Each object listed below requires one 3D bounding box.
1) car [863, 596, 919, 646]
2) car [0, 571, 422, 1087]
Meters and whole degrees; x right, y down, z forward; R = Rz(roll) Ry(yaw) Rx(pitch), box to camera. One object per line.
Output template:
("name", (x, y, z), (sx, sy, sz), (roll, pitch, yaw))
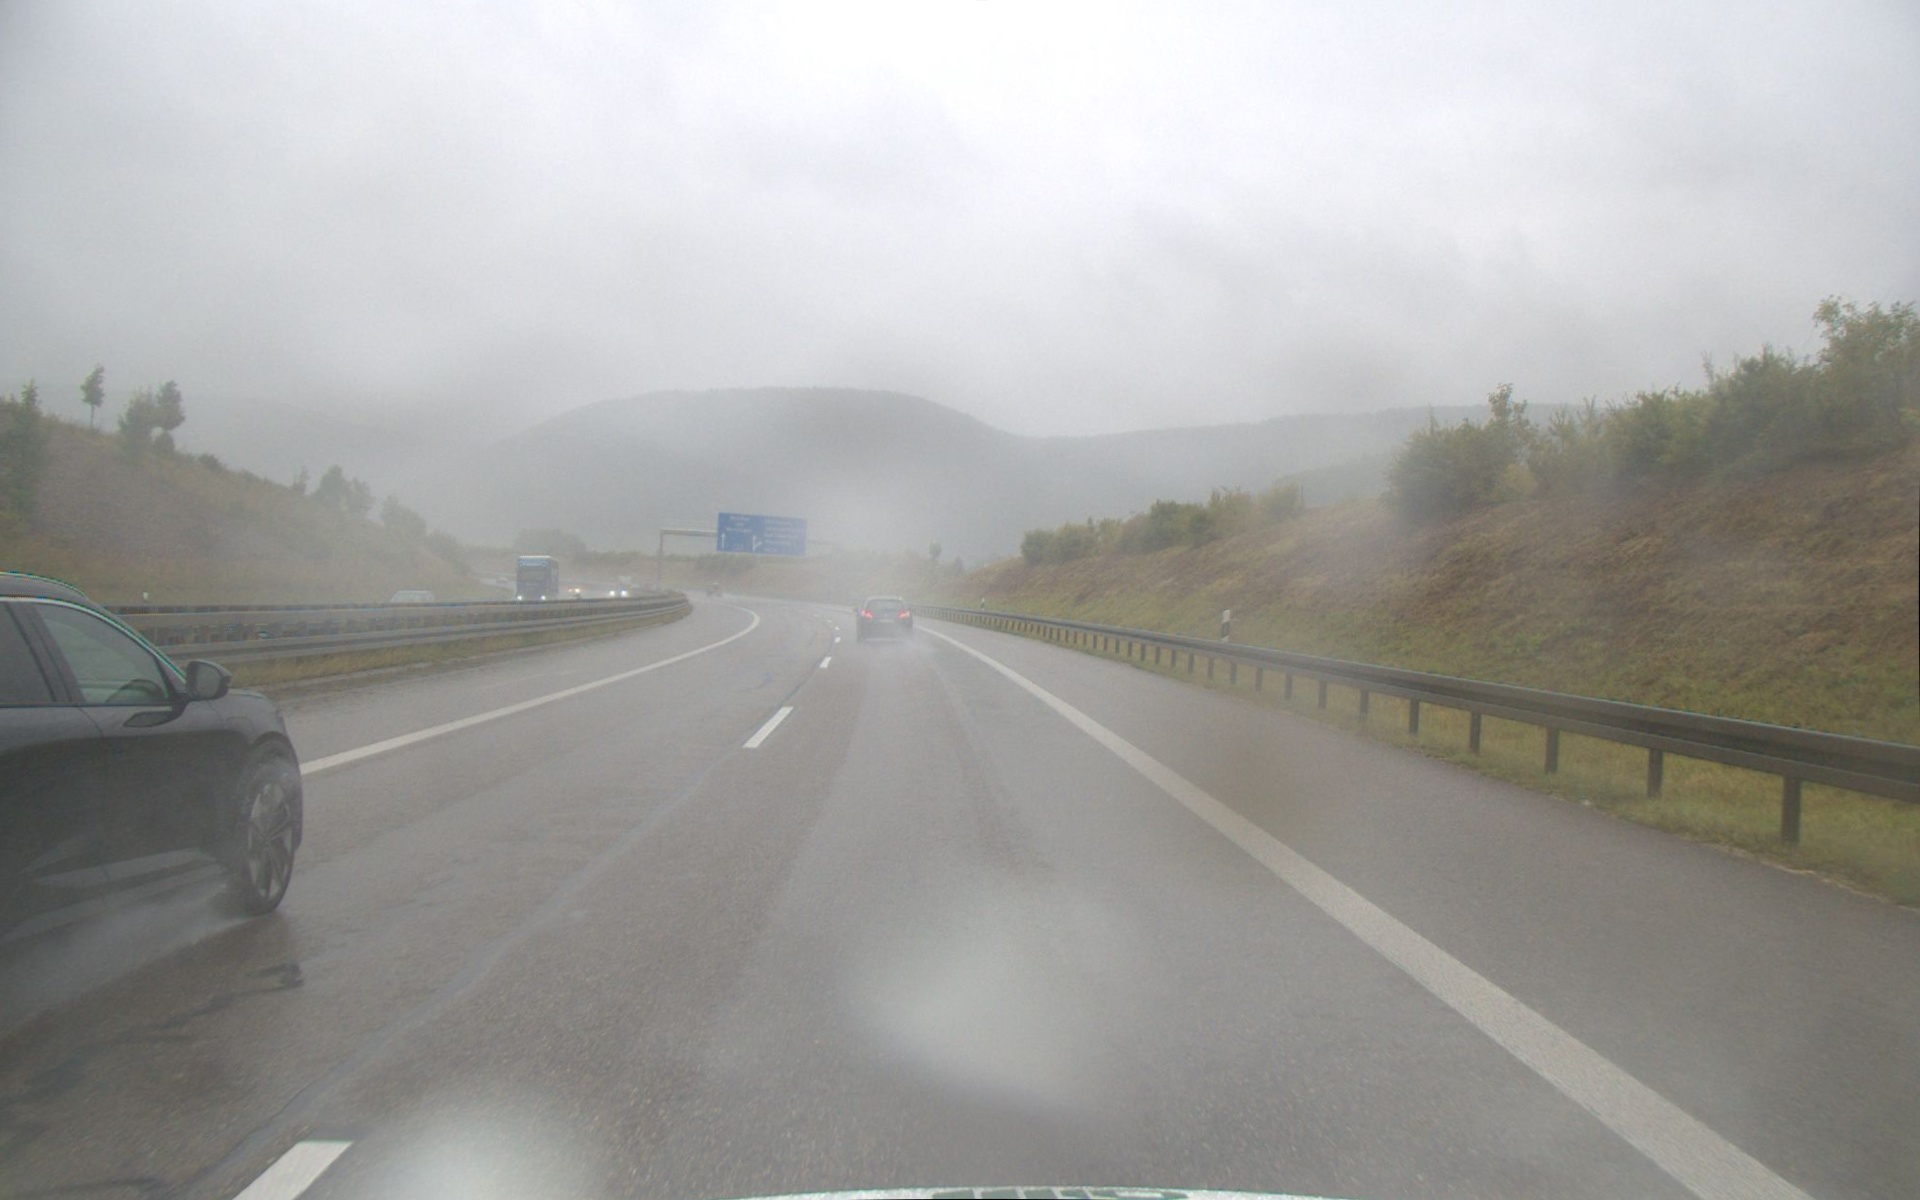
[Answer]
("car", (-2.151, 0.635, 52.561), (1.645, 1.498, 3.814), (1, 0, -1))
("car", (-4.019, 0.660, 6.236), (2.356, 1.542, 4.784), (1, 0, 0))
